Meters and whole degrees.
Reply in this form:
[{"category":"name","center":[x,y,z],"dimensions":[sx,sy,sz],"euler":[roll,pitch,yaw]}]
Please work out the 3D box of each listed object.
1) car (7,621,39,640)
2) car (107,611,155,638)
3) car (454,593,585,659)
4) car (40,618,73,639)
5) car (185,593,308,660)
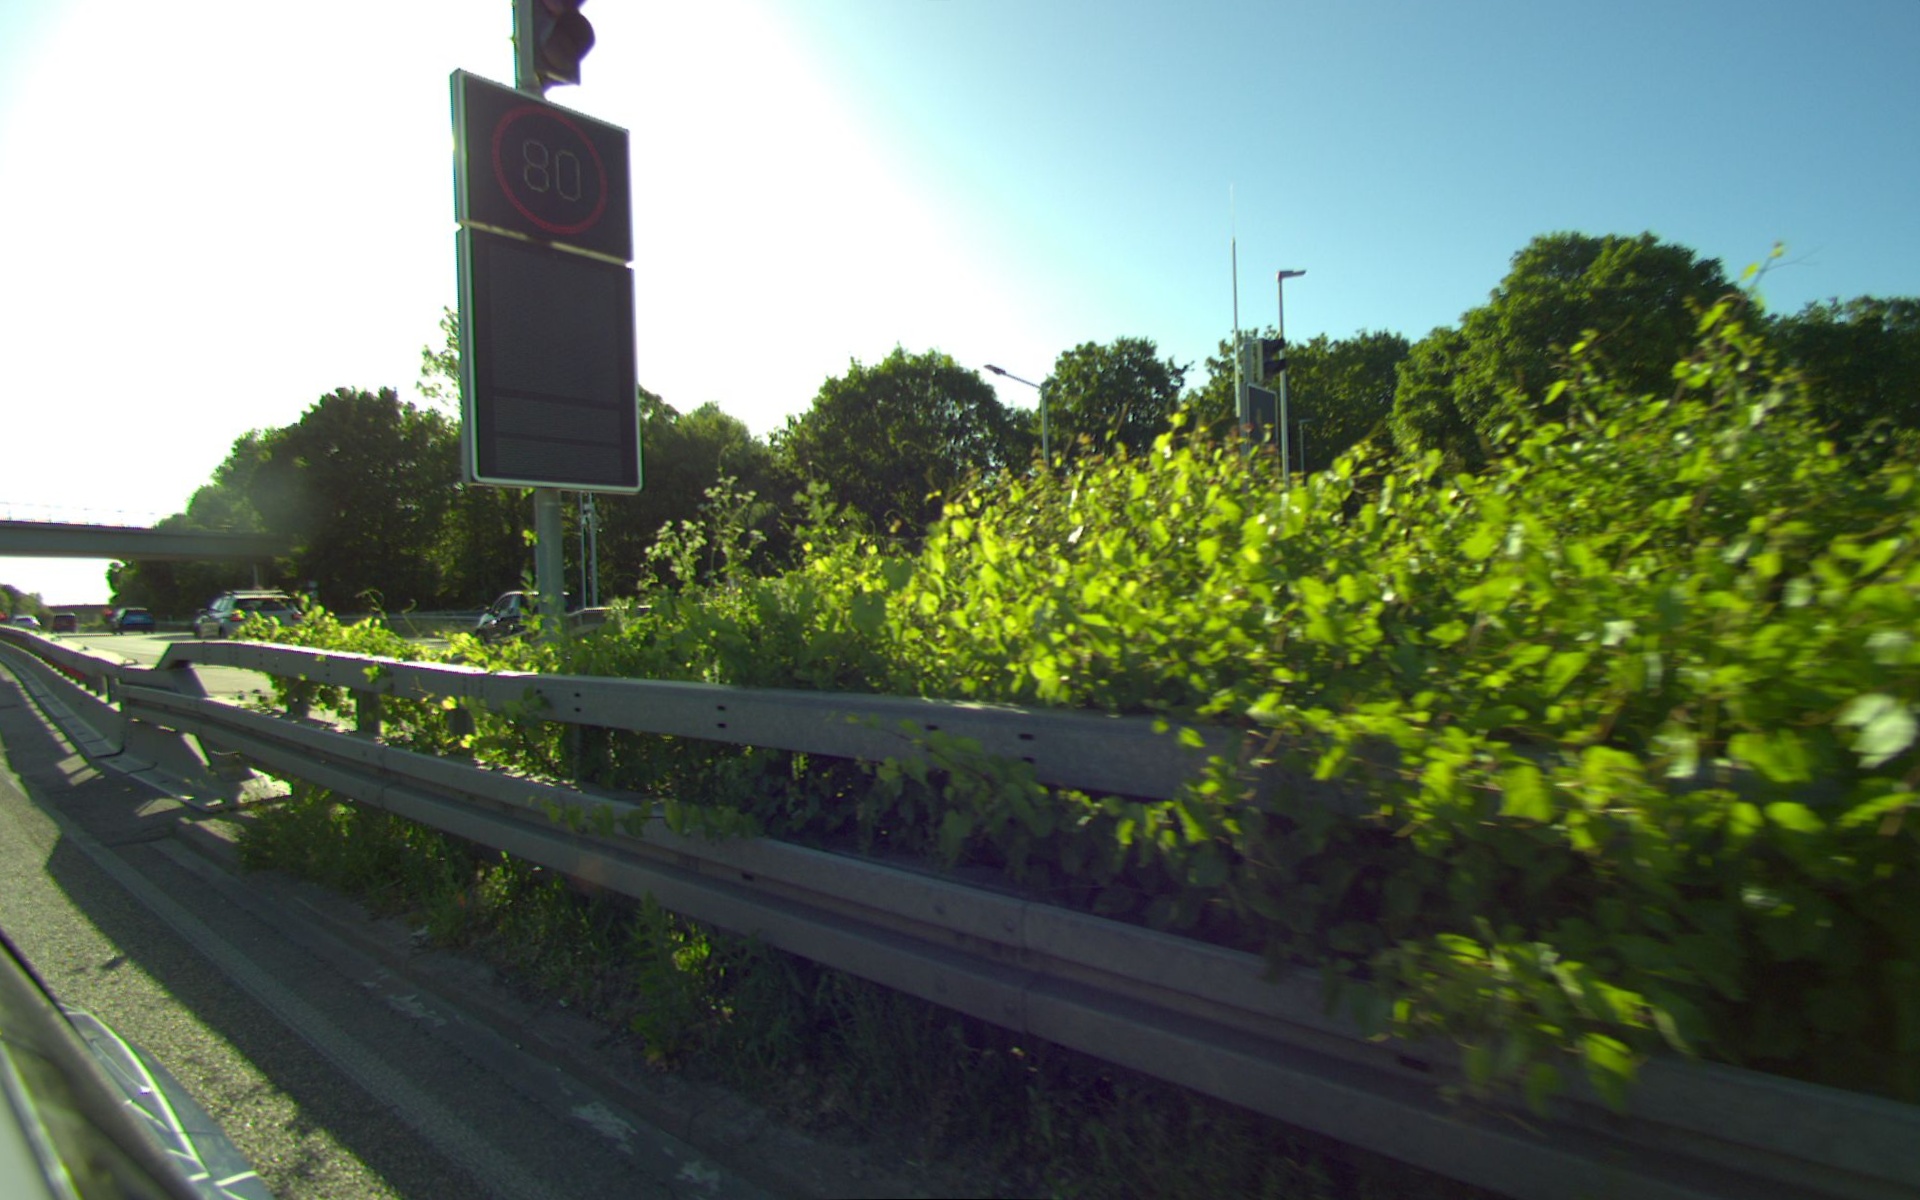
[{"category":"car","center":[-81.896,2.627,88.436],"dimensions":[4.533,1.590,1.767],"euler":[-1,-1,43]},{"category":"car","center":[-51.178,1.530,62.463],"dimensions":[4.320,1.584,1.655],"euler":[-1,-1,42]},{"category":"car","center":[-10.755,0.618,24.642],"dimensions":[3.389,1.496,1.593],"euler":[-2,-1,40]},{"category":"car","center":[-89.530,2.837,100.234],"dimensions":[5.521,1.925,1.972],"euler":[-2,0,43]},{"category":"car","center":[-18.680,0.652,26.427],"dimensions":[4.162,1.587,1.698],"euler":[-1,1,42]}]
